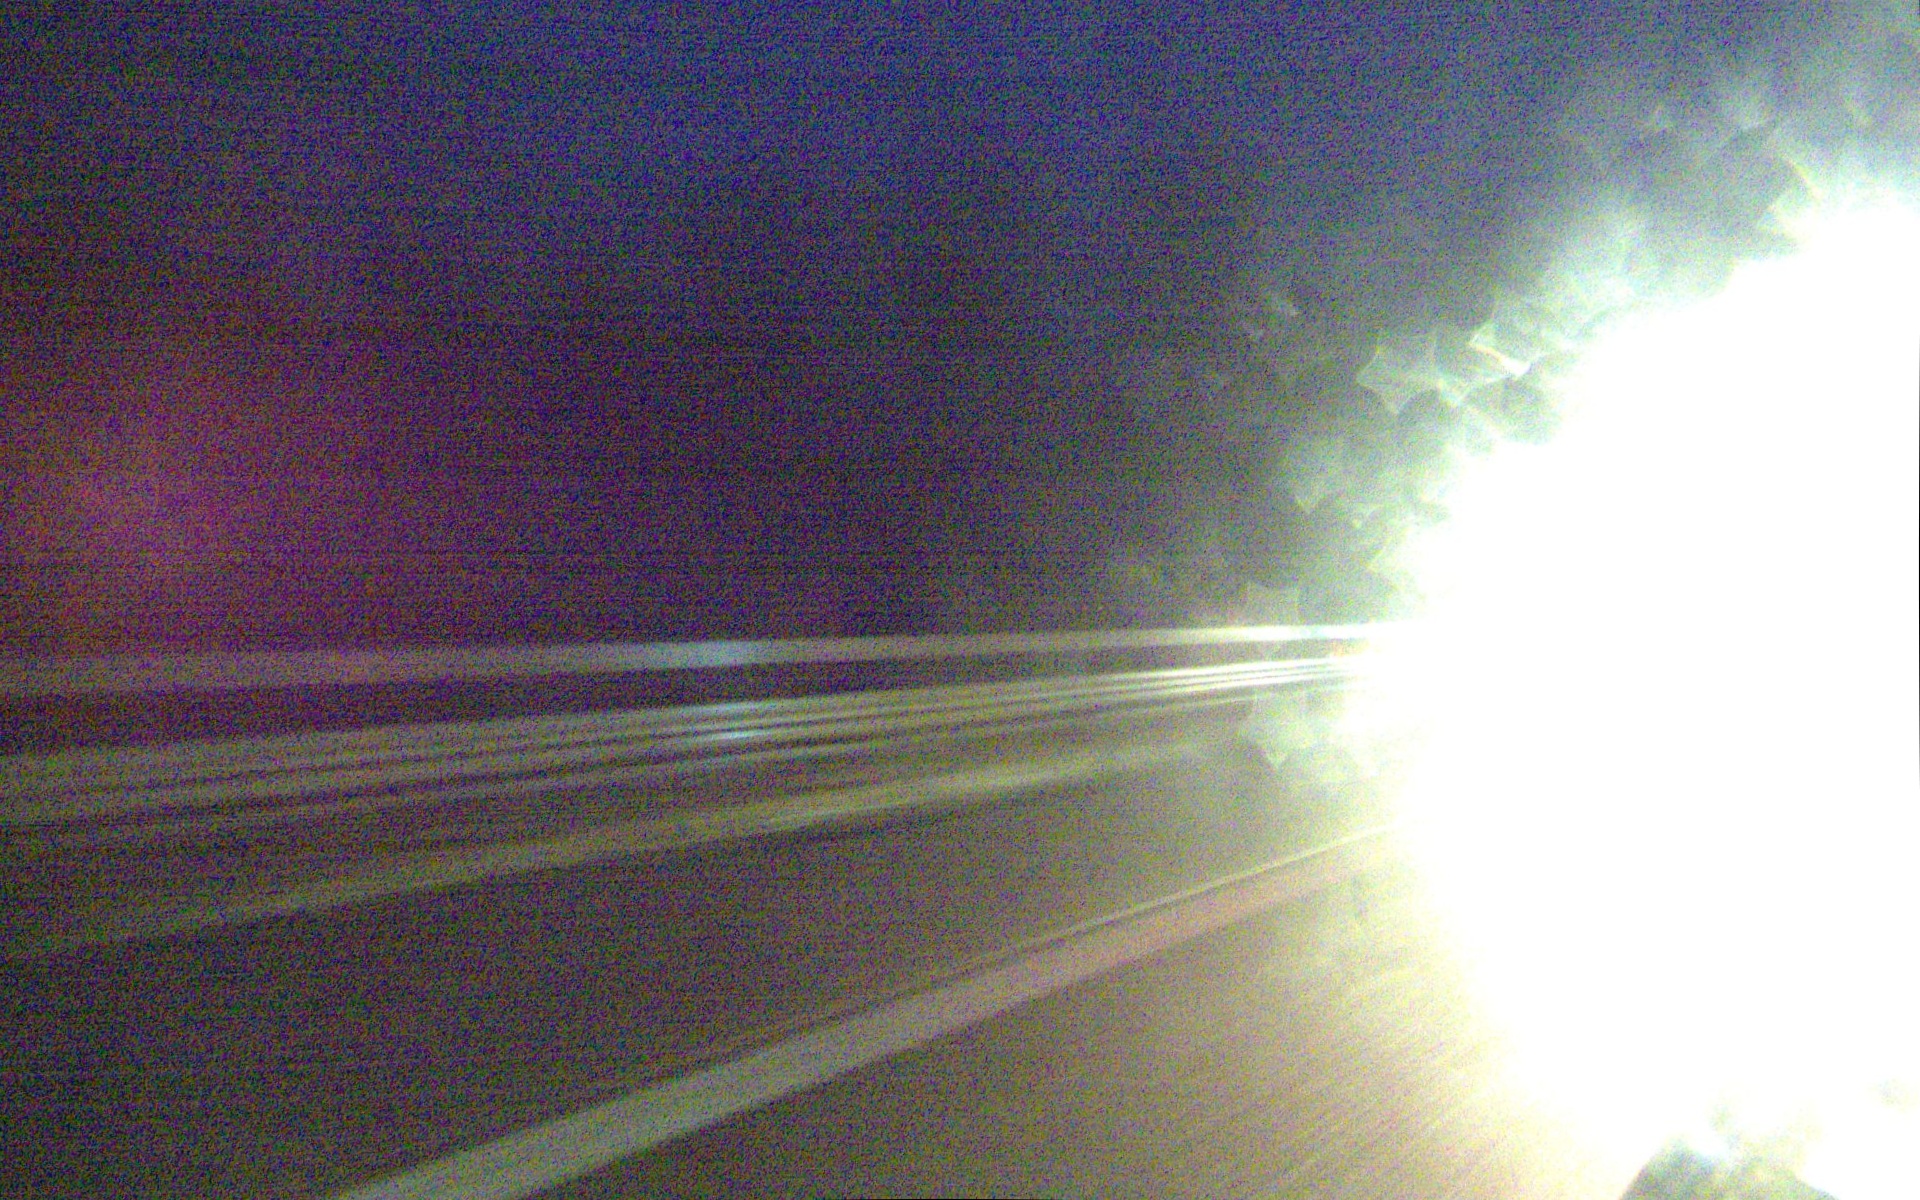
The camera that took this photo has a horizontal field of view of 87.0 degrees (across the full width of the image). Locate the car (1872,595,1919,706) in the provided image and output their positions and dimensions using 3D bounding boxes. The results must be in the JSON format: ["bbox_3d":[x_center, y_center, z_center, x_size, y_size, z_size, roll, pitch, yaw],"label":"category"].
[{"bbox_3d":[14.638,0.693,14.573,4.122,1.476,1.773,0,0,-41],"label":"car"}]
